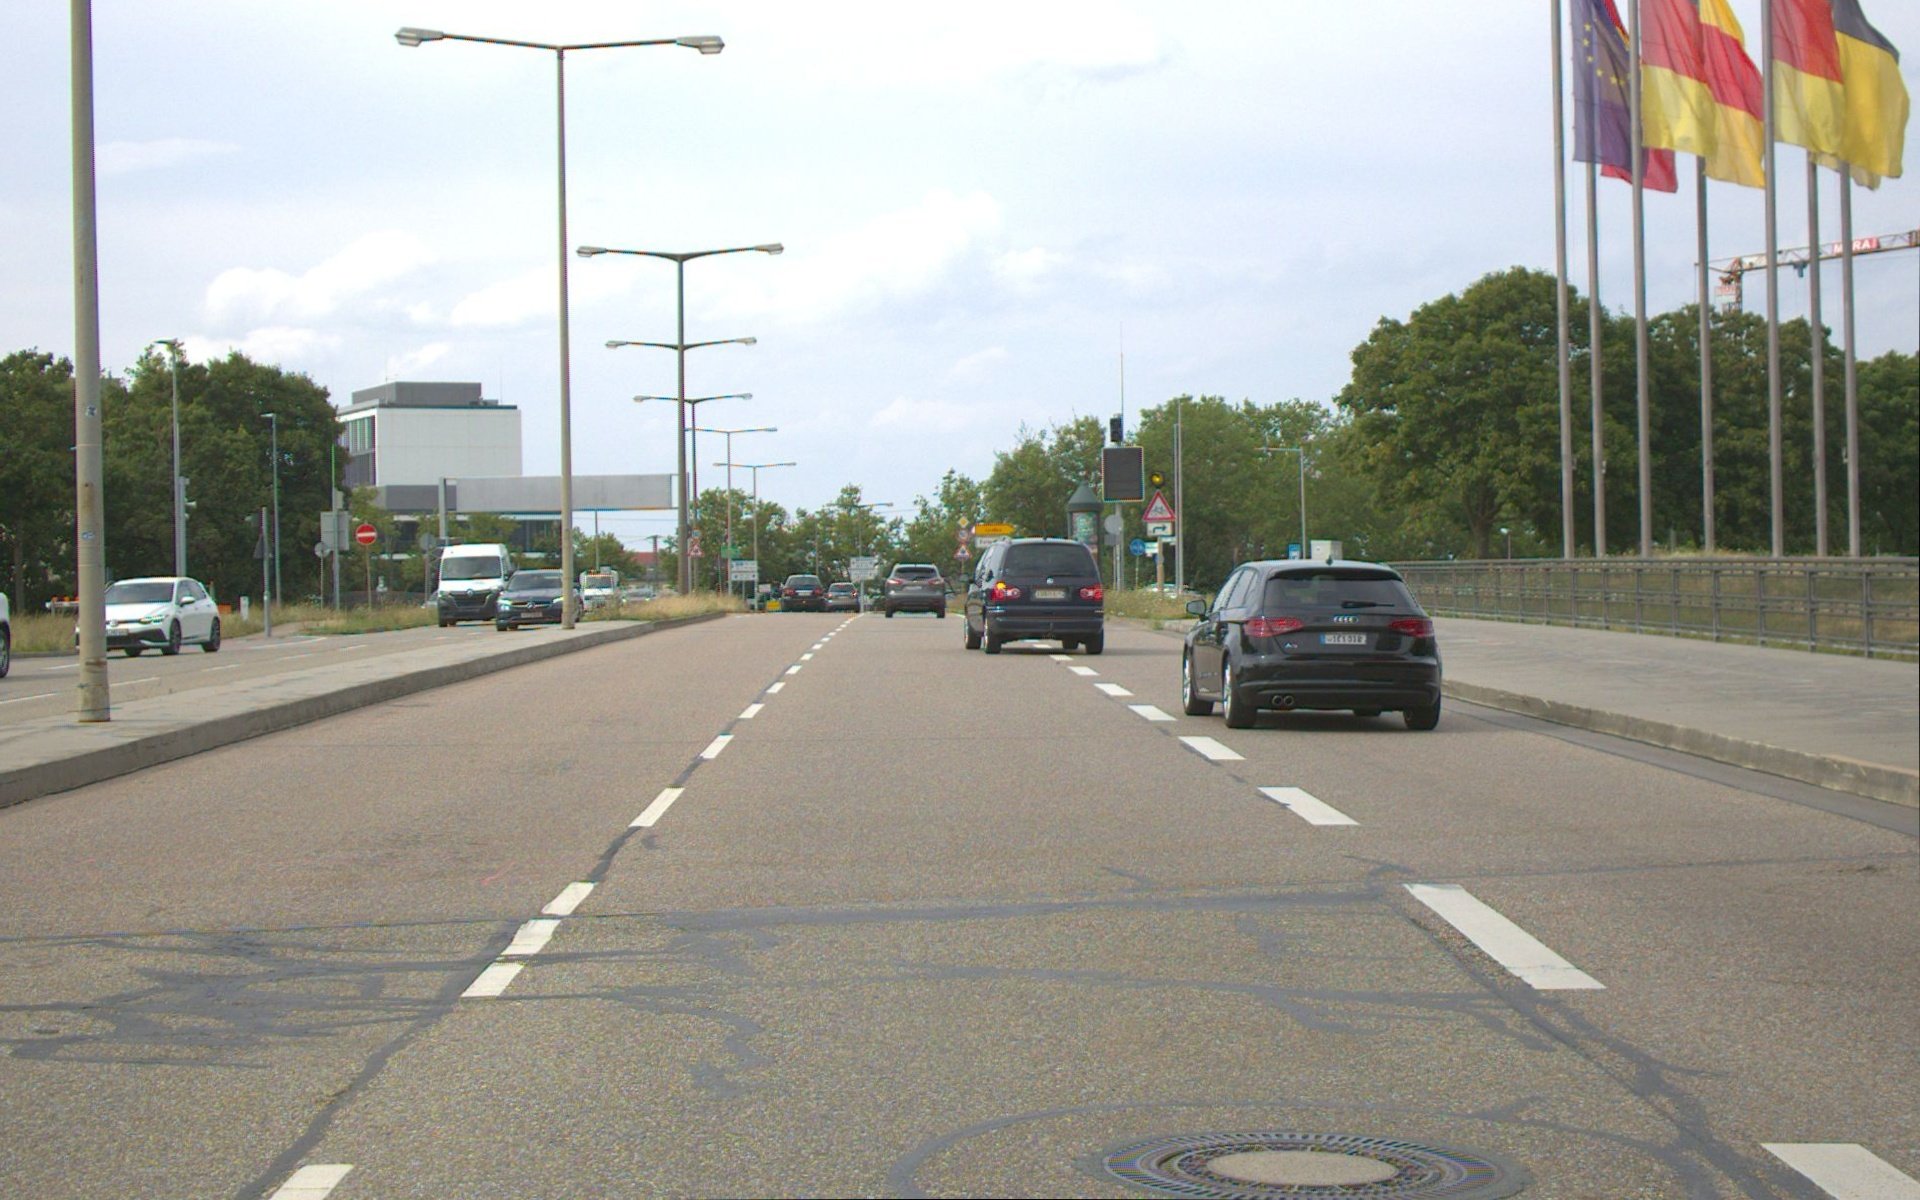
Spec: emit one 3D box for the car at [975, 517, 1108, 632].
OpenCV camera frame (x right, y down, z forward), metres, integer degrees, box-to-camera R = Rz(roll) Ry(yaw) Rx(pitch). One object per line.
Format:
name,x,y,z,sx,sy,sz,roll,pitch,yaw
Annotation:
car,1.188,-0.370,51.738,1.730,1.647,4.115,0,0,-2

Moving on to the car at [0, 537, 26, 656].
car,-14.762,-0.007,48.426,1.863,1.719,4.770,-2,1,0

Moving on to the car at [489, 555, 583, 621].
car,-10.282,-0.276,83.611,1.738,1.475,4.776,-2,0,-1

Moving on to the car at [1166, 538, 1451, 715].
car,2.901,0.209,29.454,1.730,1.390,4.115,-1,0,-4

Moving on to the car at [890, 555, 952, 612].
car,-1.184,-0.473,102.426,1.730,1.647,4.115,0,0,-2

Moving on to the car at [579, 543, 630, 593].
car,-13.667,-1.240,132.334,1.540,1.864,3.570,-2,1,0

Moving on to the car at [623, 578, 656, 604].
car,-18.971,-0.536,203.662,1.745,1.470,4.565,-2,0,-3

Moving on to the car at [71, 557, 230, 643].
car,-15.023,-0.020,64.028,1.738,1.475,4.471,-2,1,2

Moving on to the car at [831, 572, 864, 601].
car,-6.029,-0.700,183.312,1.730,1.521,4.115,0,0,-2

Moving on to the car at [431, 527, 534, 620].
car,-14.322,-0.813,103.512,2.053,2.634,6.400,-2,1,1

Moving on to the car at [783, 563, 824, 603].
car,-6.615,-0.707,145.557,1.730,1.647,4.115,0,0,-2
